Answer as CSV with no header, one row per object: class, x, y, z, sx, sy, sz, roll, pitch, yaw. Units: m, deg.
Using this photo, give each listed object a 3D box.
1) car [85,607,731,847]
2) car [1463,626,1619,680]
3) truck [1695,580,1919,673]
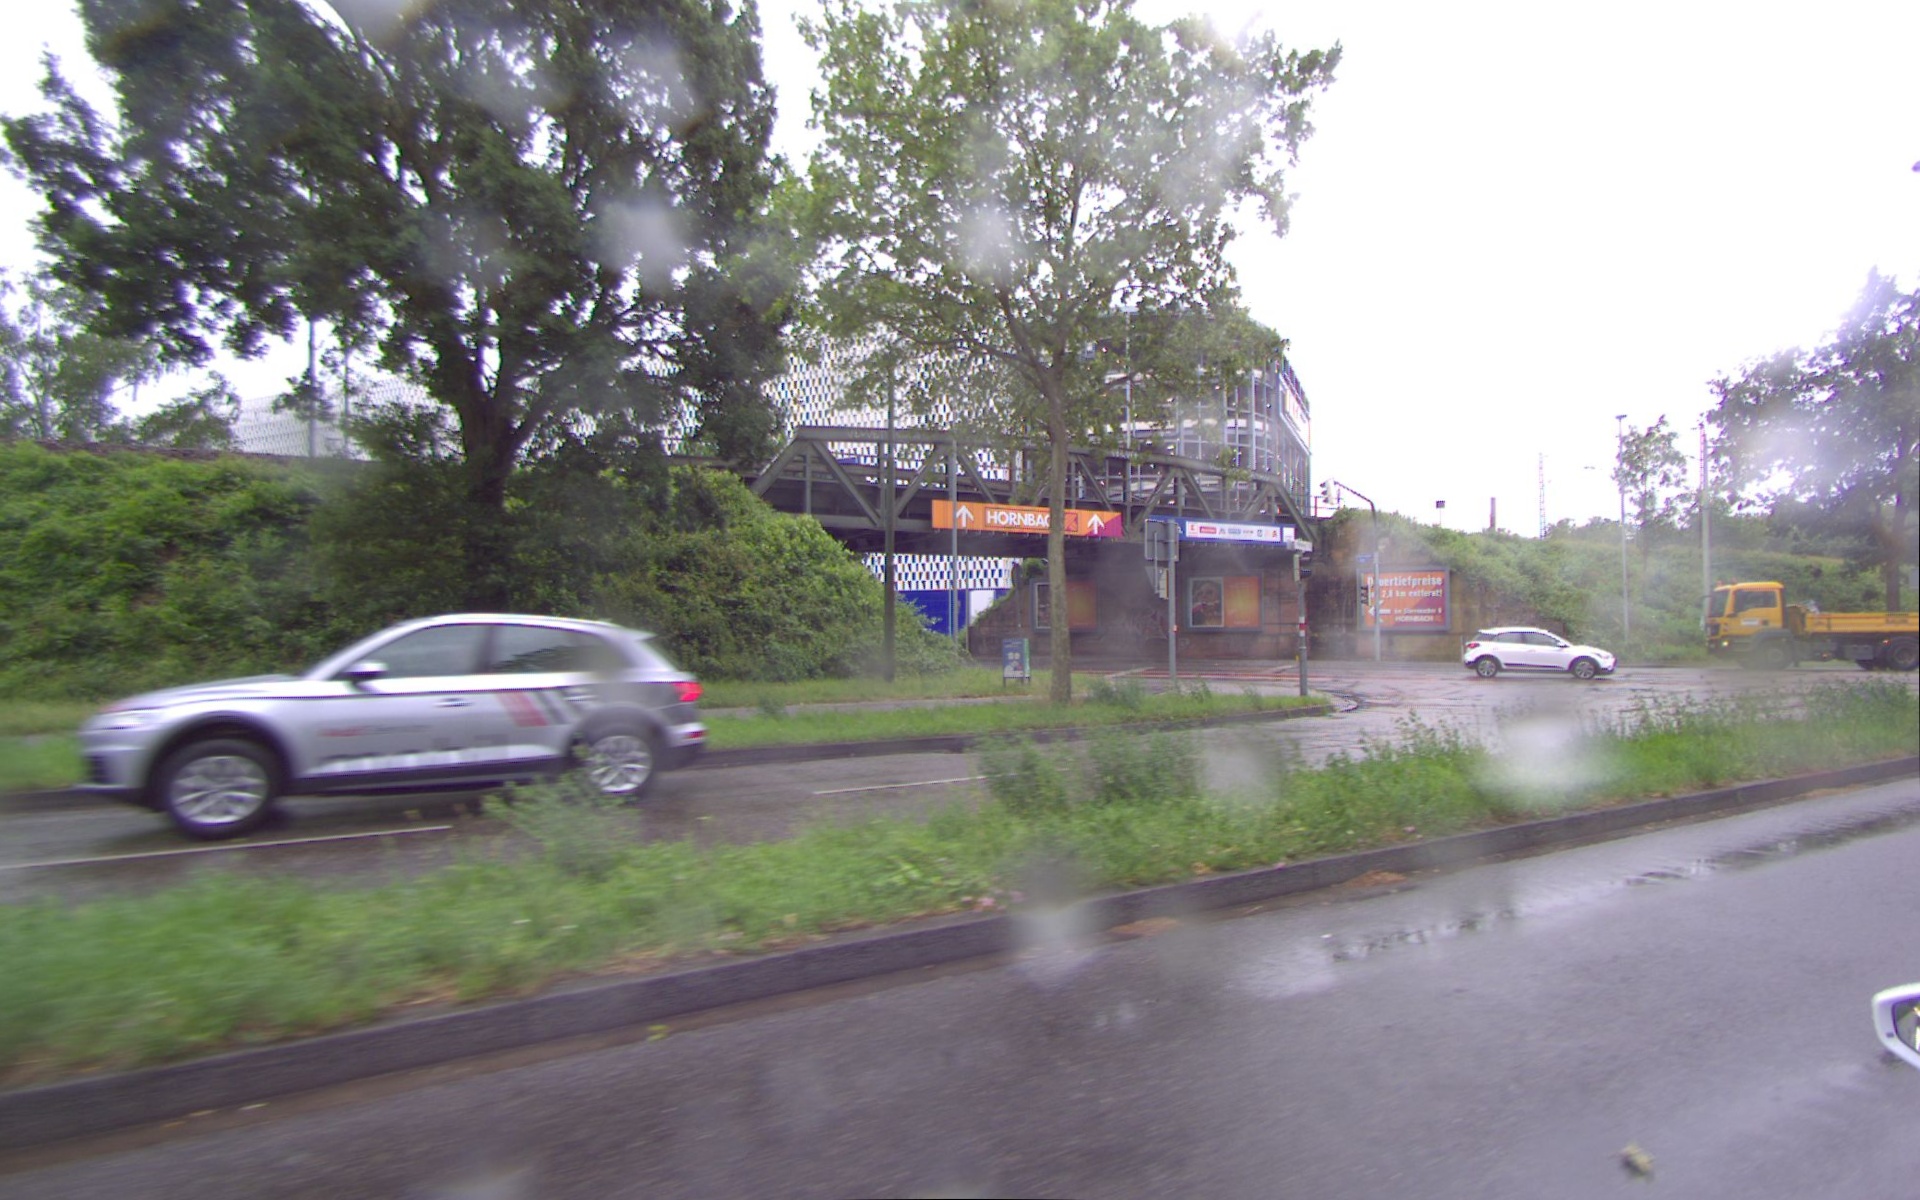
car,-4.457,0.948,8.746,4.468,1.609,1.847,1,-4,-32
car,17.577,1.571,30.634,3.988,1.541,1.998,-1,-2,27
truck,30.527,0.952,35.469,6.914,3.094,2.646,-1,-2,23
